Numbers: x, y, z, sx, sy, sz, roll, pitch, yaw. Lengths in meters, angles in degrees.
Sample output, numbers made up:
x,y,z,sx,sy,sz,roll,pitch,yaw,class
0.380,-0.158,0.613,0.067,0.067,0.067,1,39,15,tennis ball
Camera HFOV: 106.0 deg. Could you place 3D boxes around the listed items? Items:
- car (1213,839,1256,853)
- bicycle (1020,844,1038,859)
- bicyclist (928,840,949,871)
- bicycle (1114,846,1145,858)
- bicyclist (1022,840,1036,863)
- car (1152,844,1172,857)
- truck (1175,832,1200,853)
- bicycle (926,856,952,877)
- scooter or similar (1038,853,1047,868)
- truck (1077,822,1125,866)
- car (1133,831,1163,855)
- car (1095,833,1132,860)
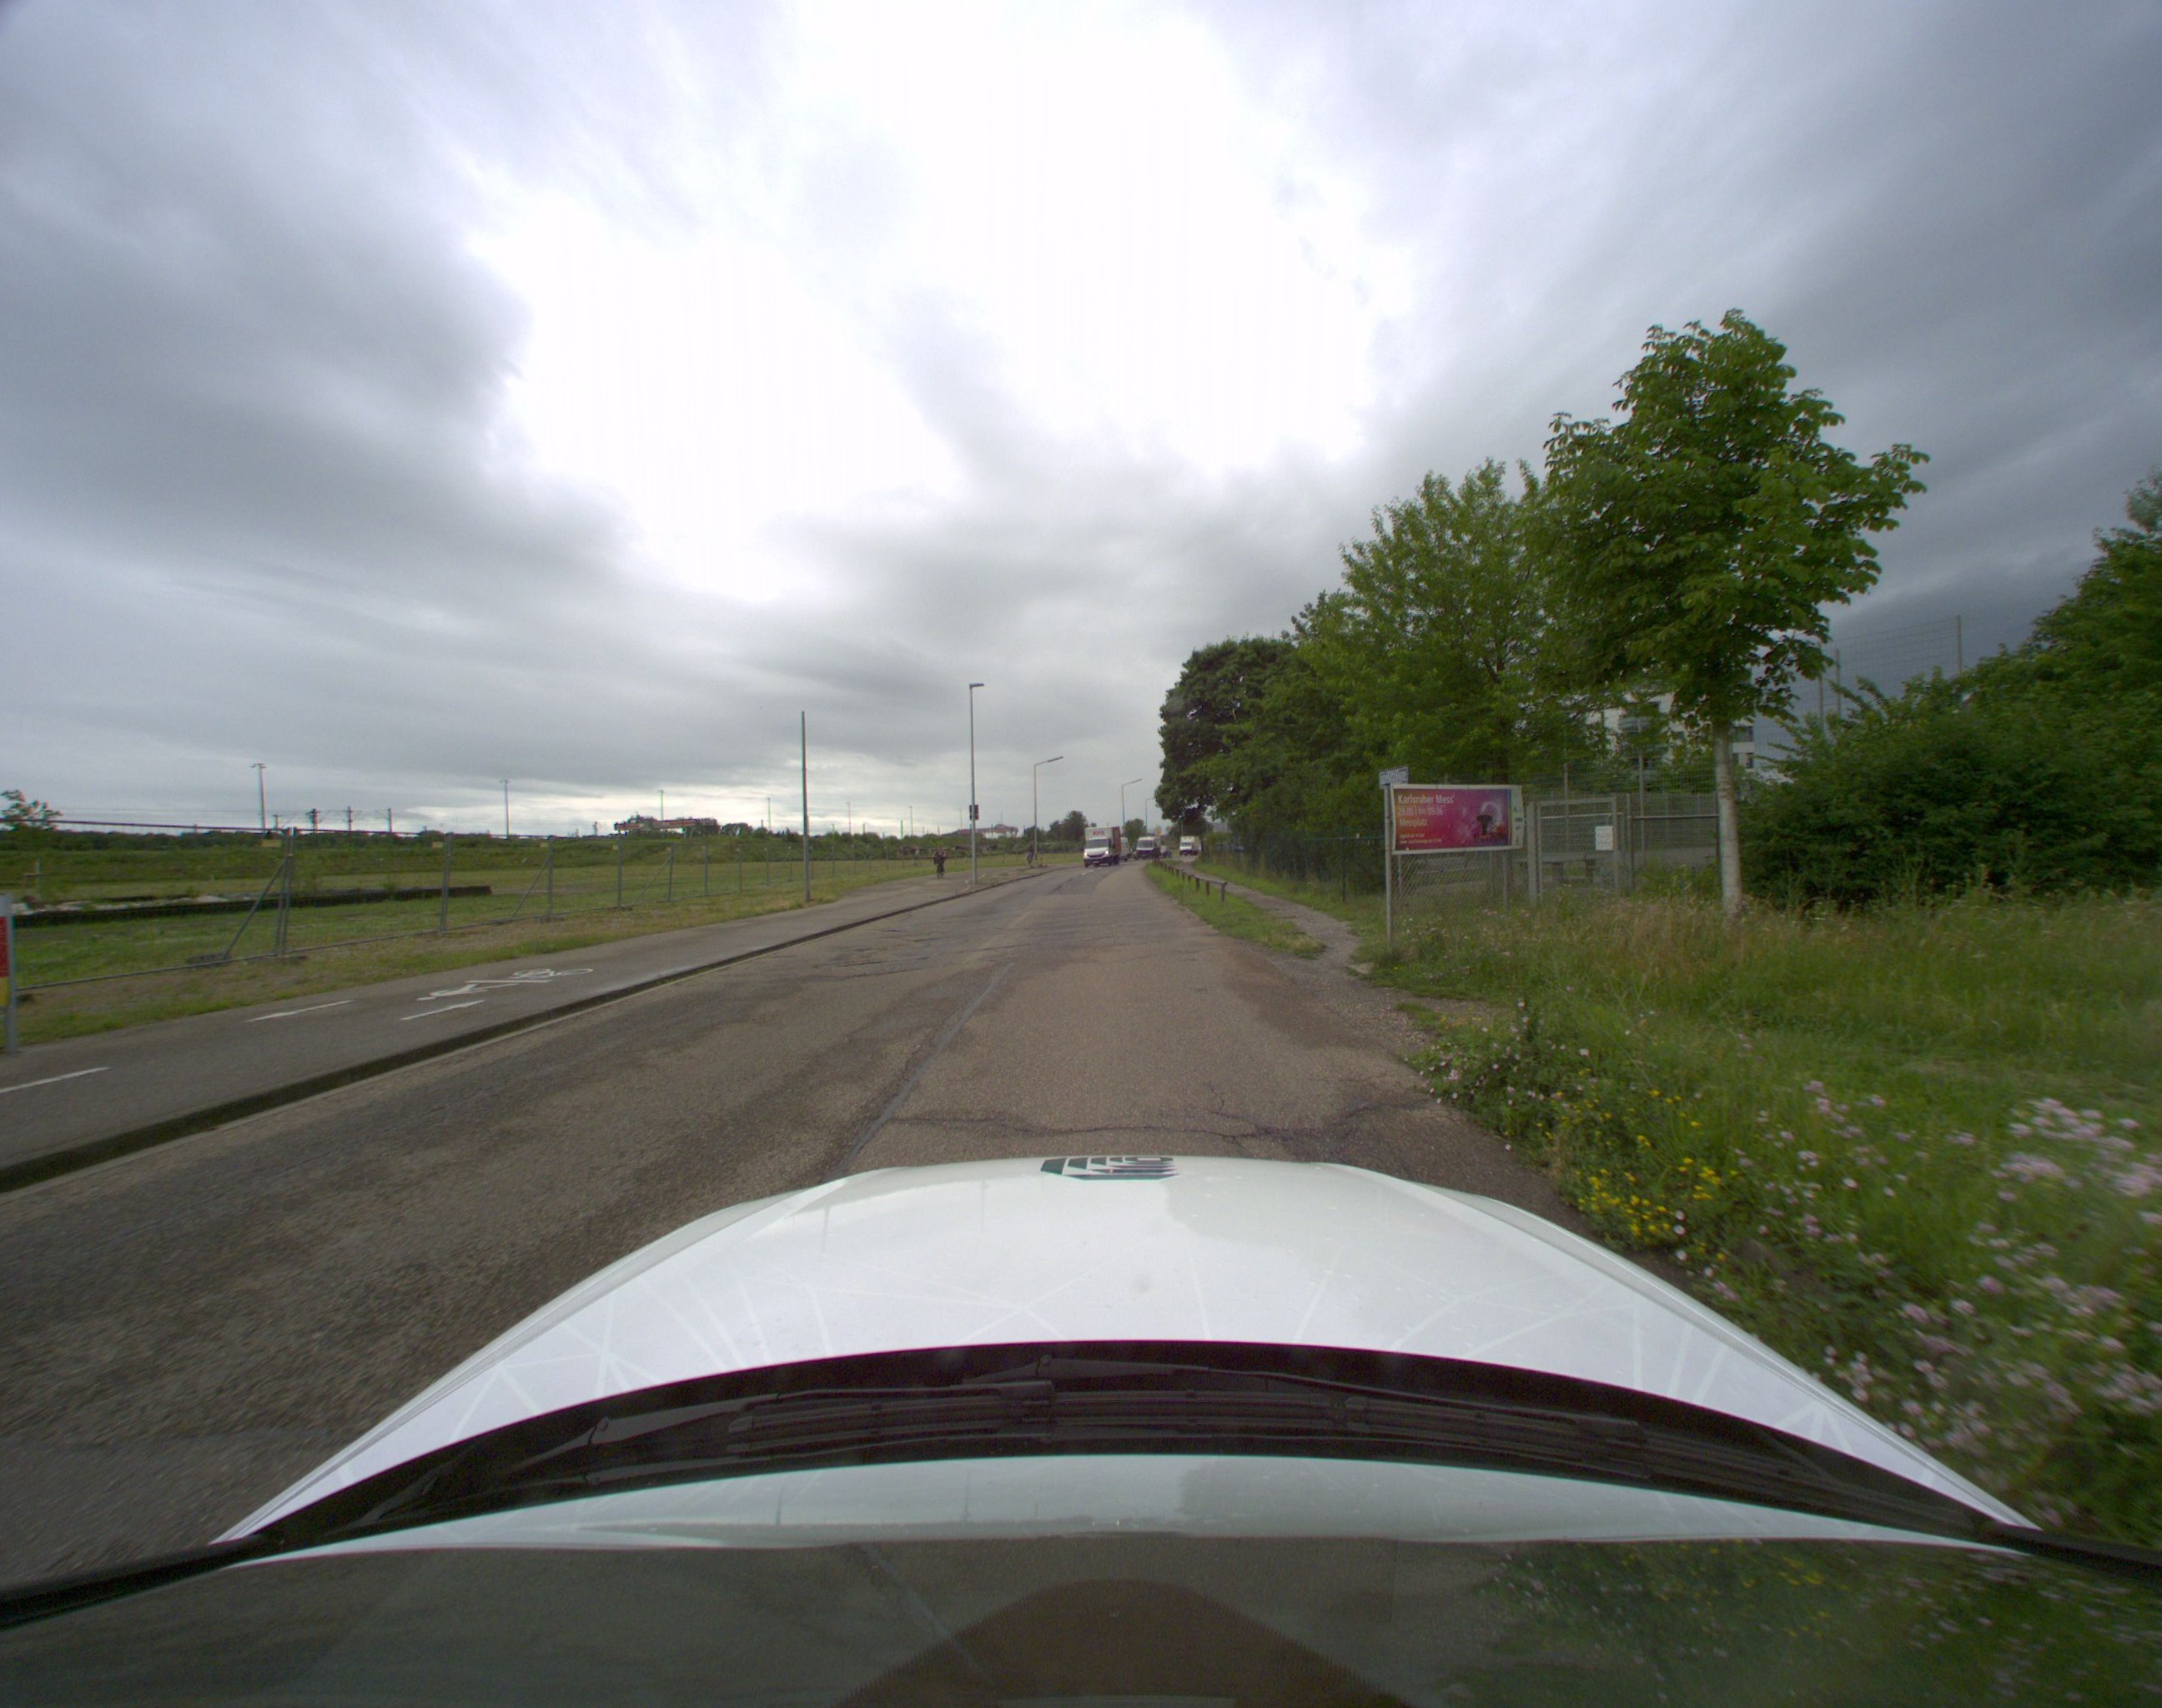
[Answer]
x,y,z,sx,sy,sz,roll,pitch,yaw,class
18.204,-0.968,96.432,4.823,1.500,1.851,-1,2,17,car
-4.402,-0.240,68.662,0.813,1.204,2.566,-2,2,12,bicycle
-7.342,0.068,42.017,0.779,1.526,1.095,-2,1,2,bicyclist
5.424,-0.180,91.164,3.096,1.199,1.371,-1,2,16,bicycle
-4.370,-0.223,68.887,0.822,1.821,1.335,-2,1,12,bicyclist
10.592,-0.417,106.195,1.765,1.504,4.020,-2,1,18,car
16.537,-1.868,125.886,2.442,3.060,8.200,-2,1,17,truck
-7.322,0.631,42.023,0.800,0.907,2.234,-2,2,2,bicycle
-3.132,0.497,66.737,0.606,1.182,1.703,0,1,3,scooter or similar
1.656,-0.841,62.900,2.326,3.061,7.519,-4,1,10,truck
8.217,-1.410,99.388,2.282,2.734,6.120,-1,2,17,car
3.443,-0.793,84.090,2.272,2.555,6.437,-2,1,15,car
